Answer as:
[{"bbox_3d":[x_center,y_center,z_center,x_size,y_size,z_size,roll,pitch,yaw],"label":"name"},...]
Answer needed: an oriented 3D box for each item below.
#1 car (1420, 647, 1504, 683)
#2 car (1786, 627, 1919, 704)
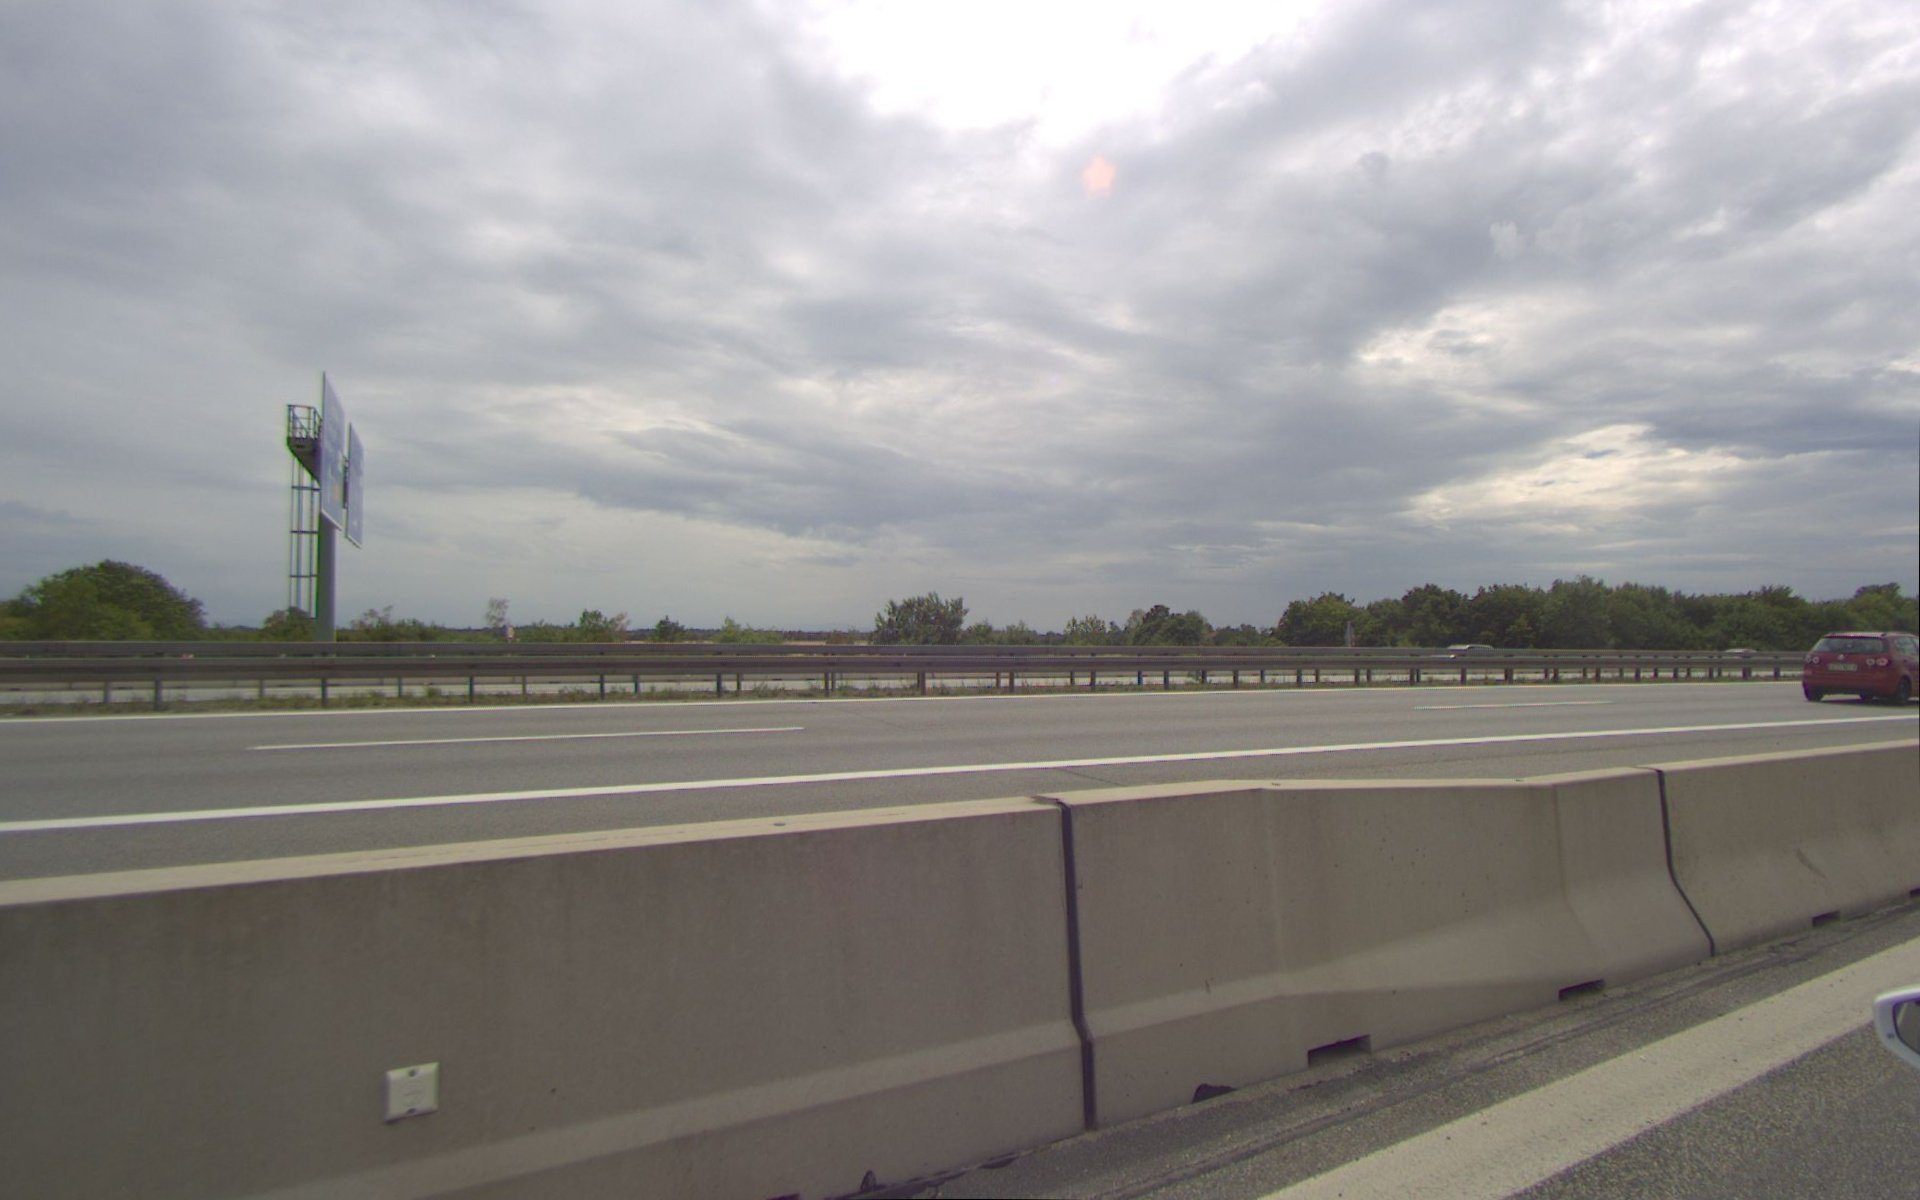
[{"bbox_3d":[25.862,3.321,51.713,3.947,1.728,1.824,2,-1,-26],"label":"car"},{"bbox_3d":[21.007,1.425,22.959,4.300,1.566,1.812,0,0,-28],"label":"car"}]
